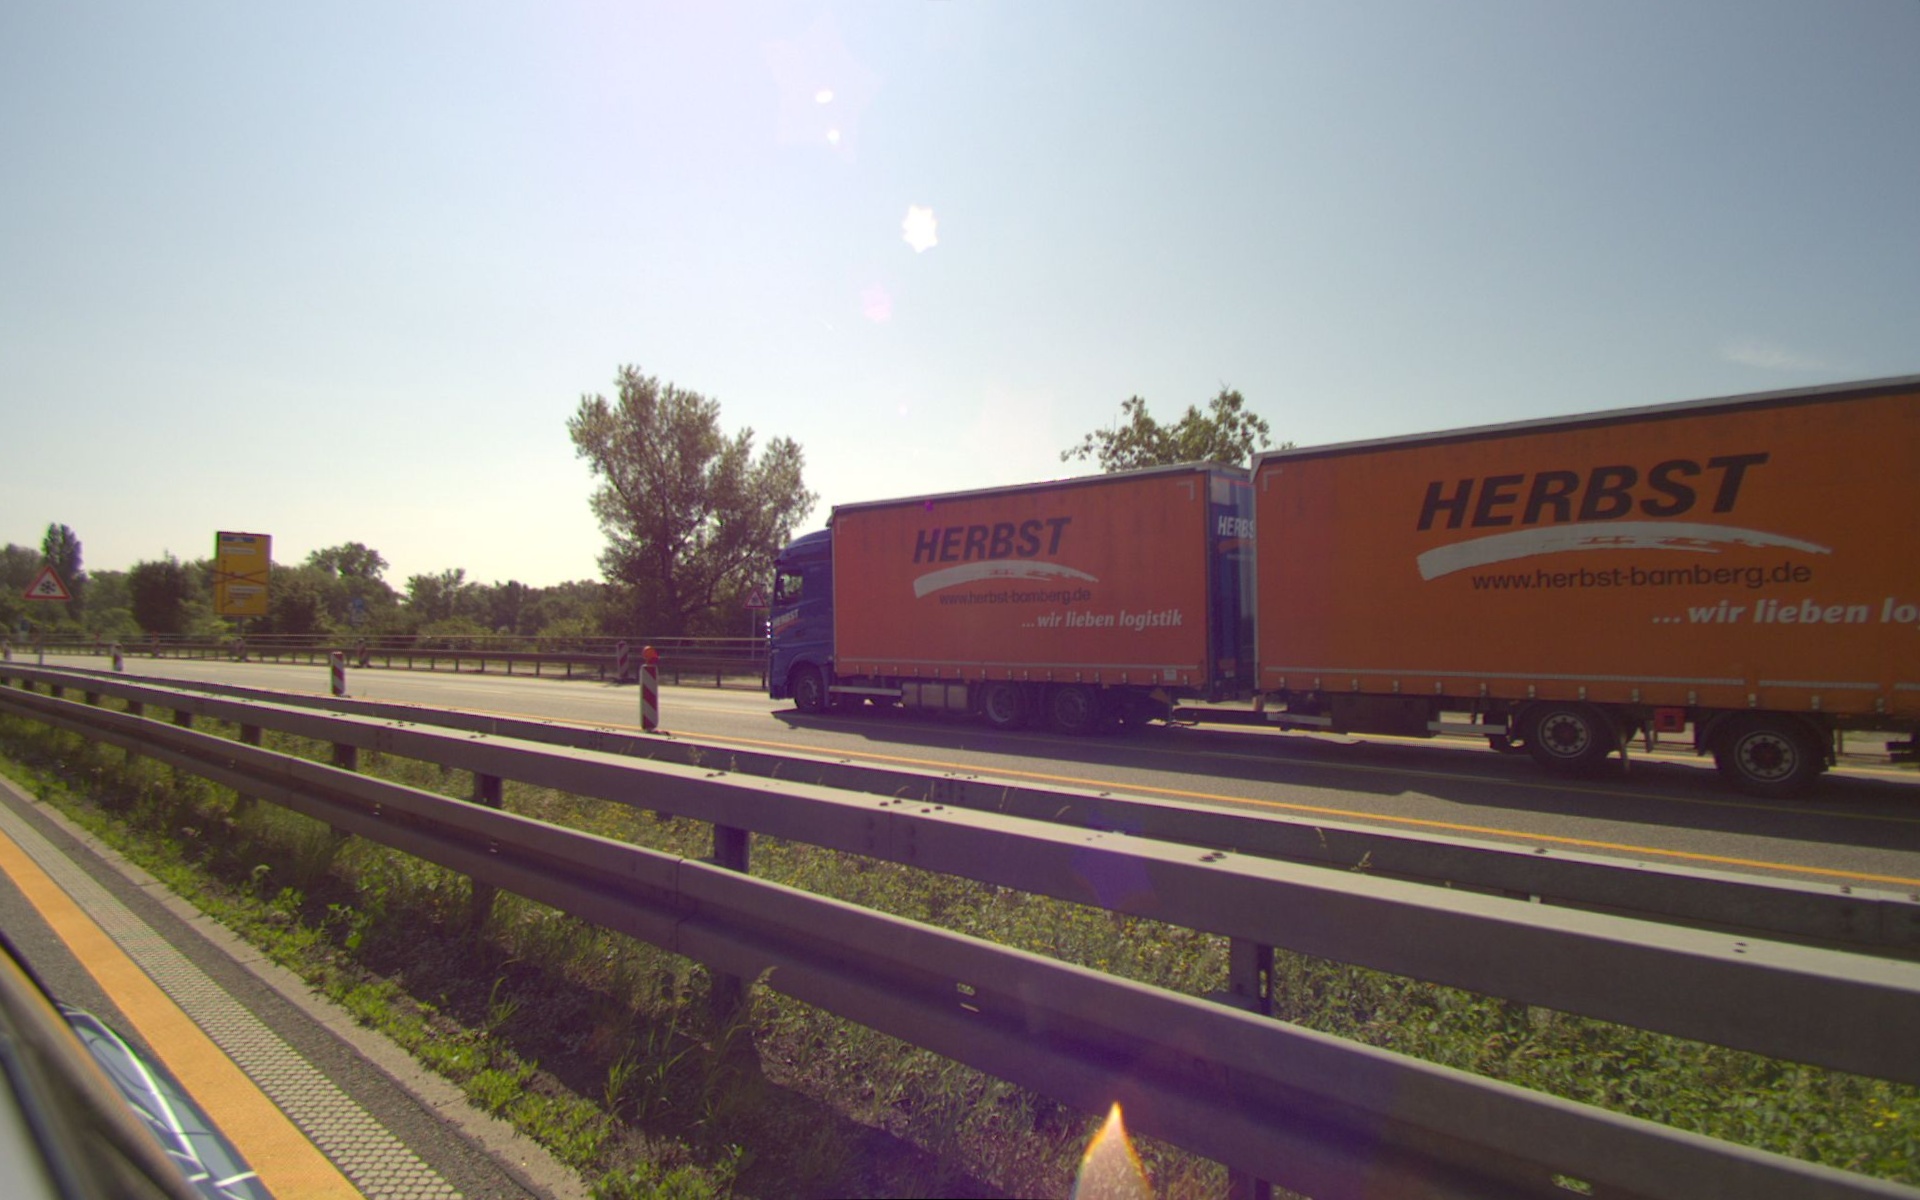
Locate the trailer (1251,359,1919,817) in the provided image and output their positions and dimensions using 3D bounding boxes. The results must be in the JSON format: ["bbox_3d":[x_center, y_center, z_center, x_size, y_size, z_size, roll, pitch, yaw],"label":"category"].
[{"bbox_3d":[8.531,-0.065,11.266,9.786,4.122,3.005,-2,-2,42],"label":"trailer"}]

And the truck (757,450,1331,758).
[{"bbox_3d":[0.806,0.201,18.239,10.621,4.122,3.005,-2,-2,42],"label":"truck"}]
